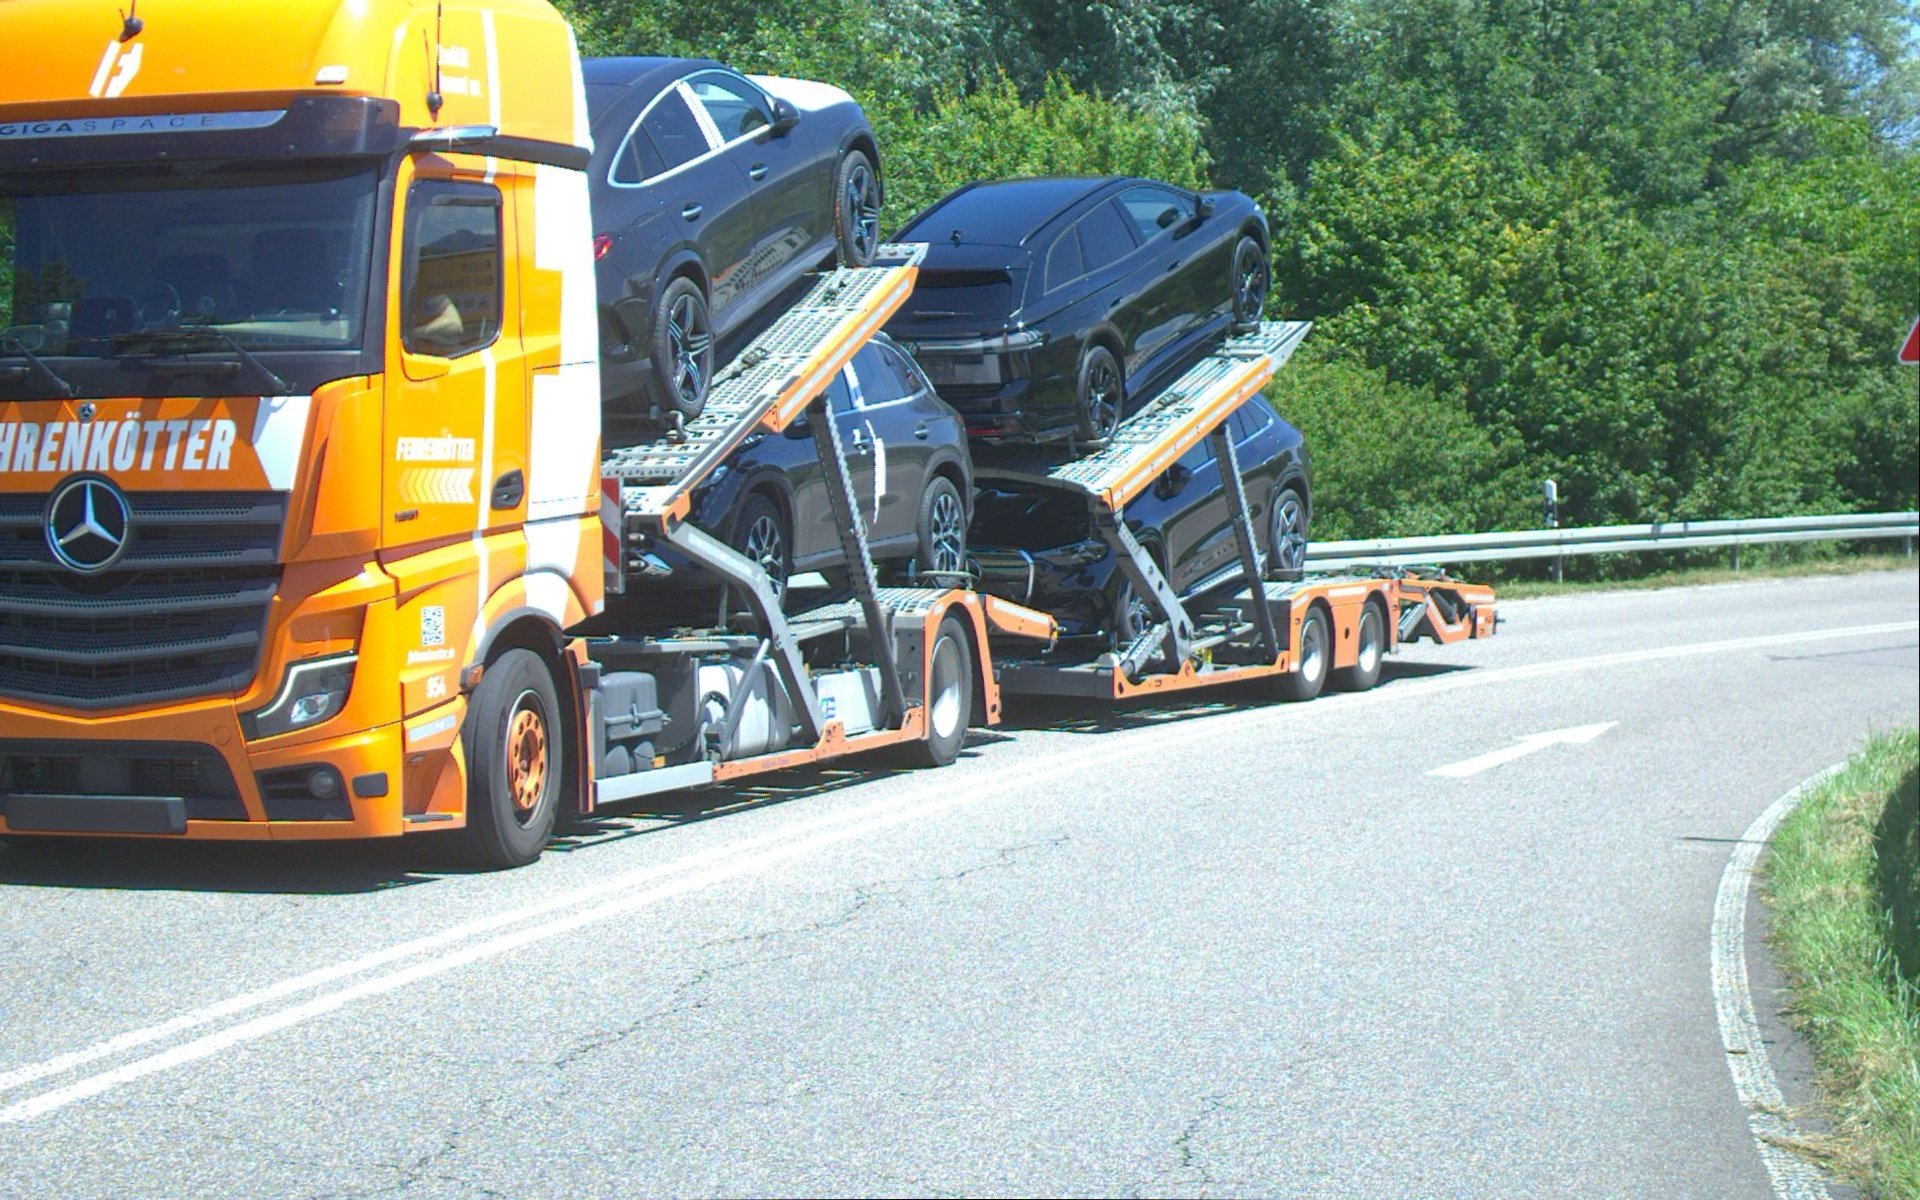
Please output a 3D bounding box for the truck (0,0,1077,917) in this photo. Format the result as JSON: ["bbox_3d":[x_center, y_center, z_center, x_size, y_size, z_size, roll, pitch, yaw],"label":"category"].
[{"bbox_3d":[-2.112,-0.910,17.377,2.792,3.884,8.771,1,2,20],"label":"truck"}]

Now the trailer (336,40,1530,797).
[{"bbox_3d":[0.807,-1.157,24.566,2.796,3.884,13.969,1,2,25],"label":"trailer"}]
